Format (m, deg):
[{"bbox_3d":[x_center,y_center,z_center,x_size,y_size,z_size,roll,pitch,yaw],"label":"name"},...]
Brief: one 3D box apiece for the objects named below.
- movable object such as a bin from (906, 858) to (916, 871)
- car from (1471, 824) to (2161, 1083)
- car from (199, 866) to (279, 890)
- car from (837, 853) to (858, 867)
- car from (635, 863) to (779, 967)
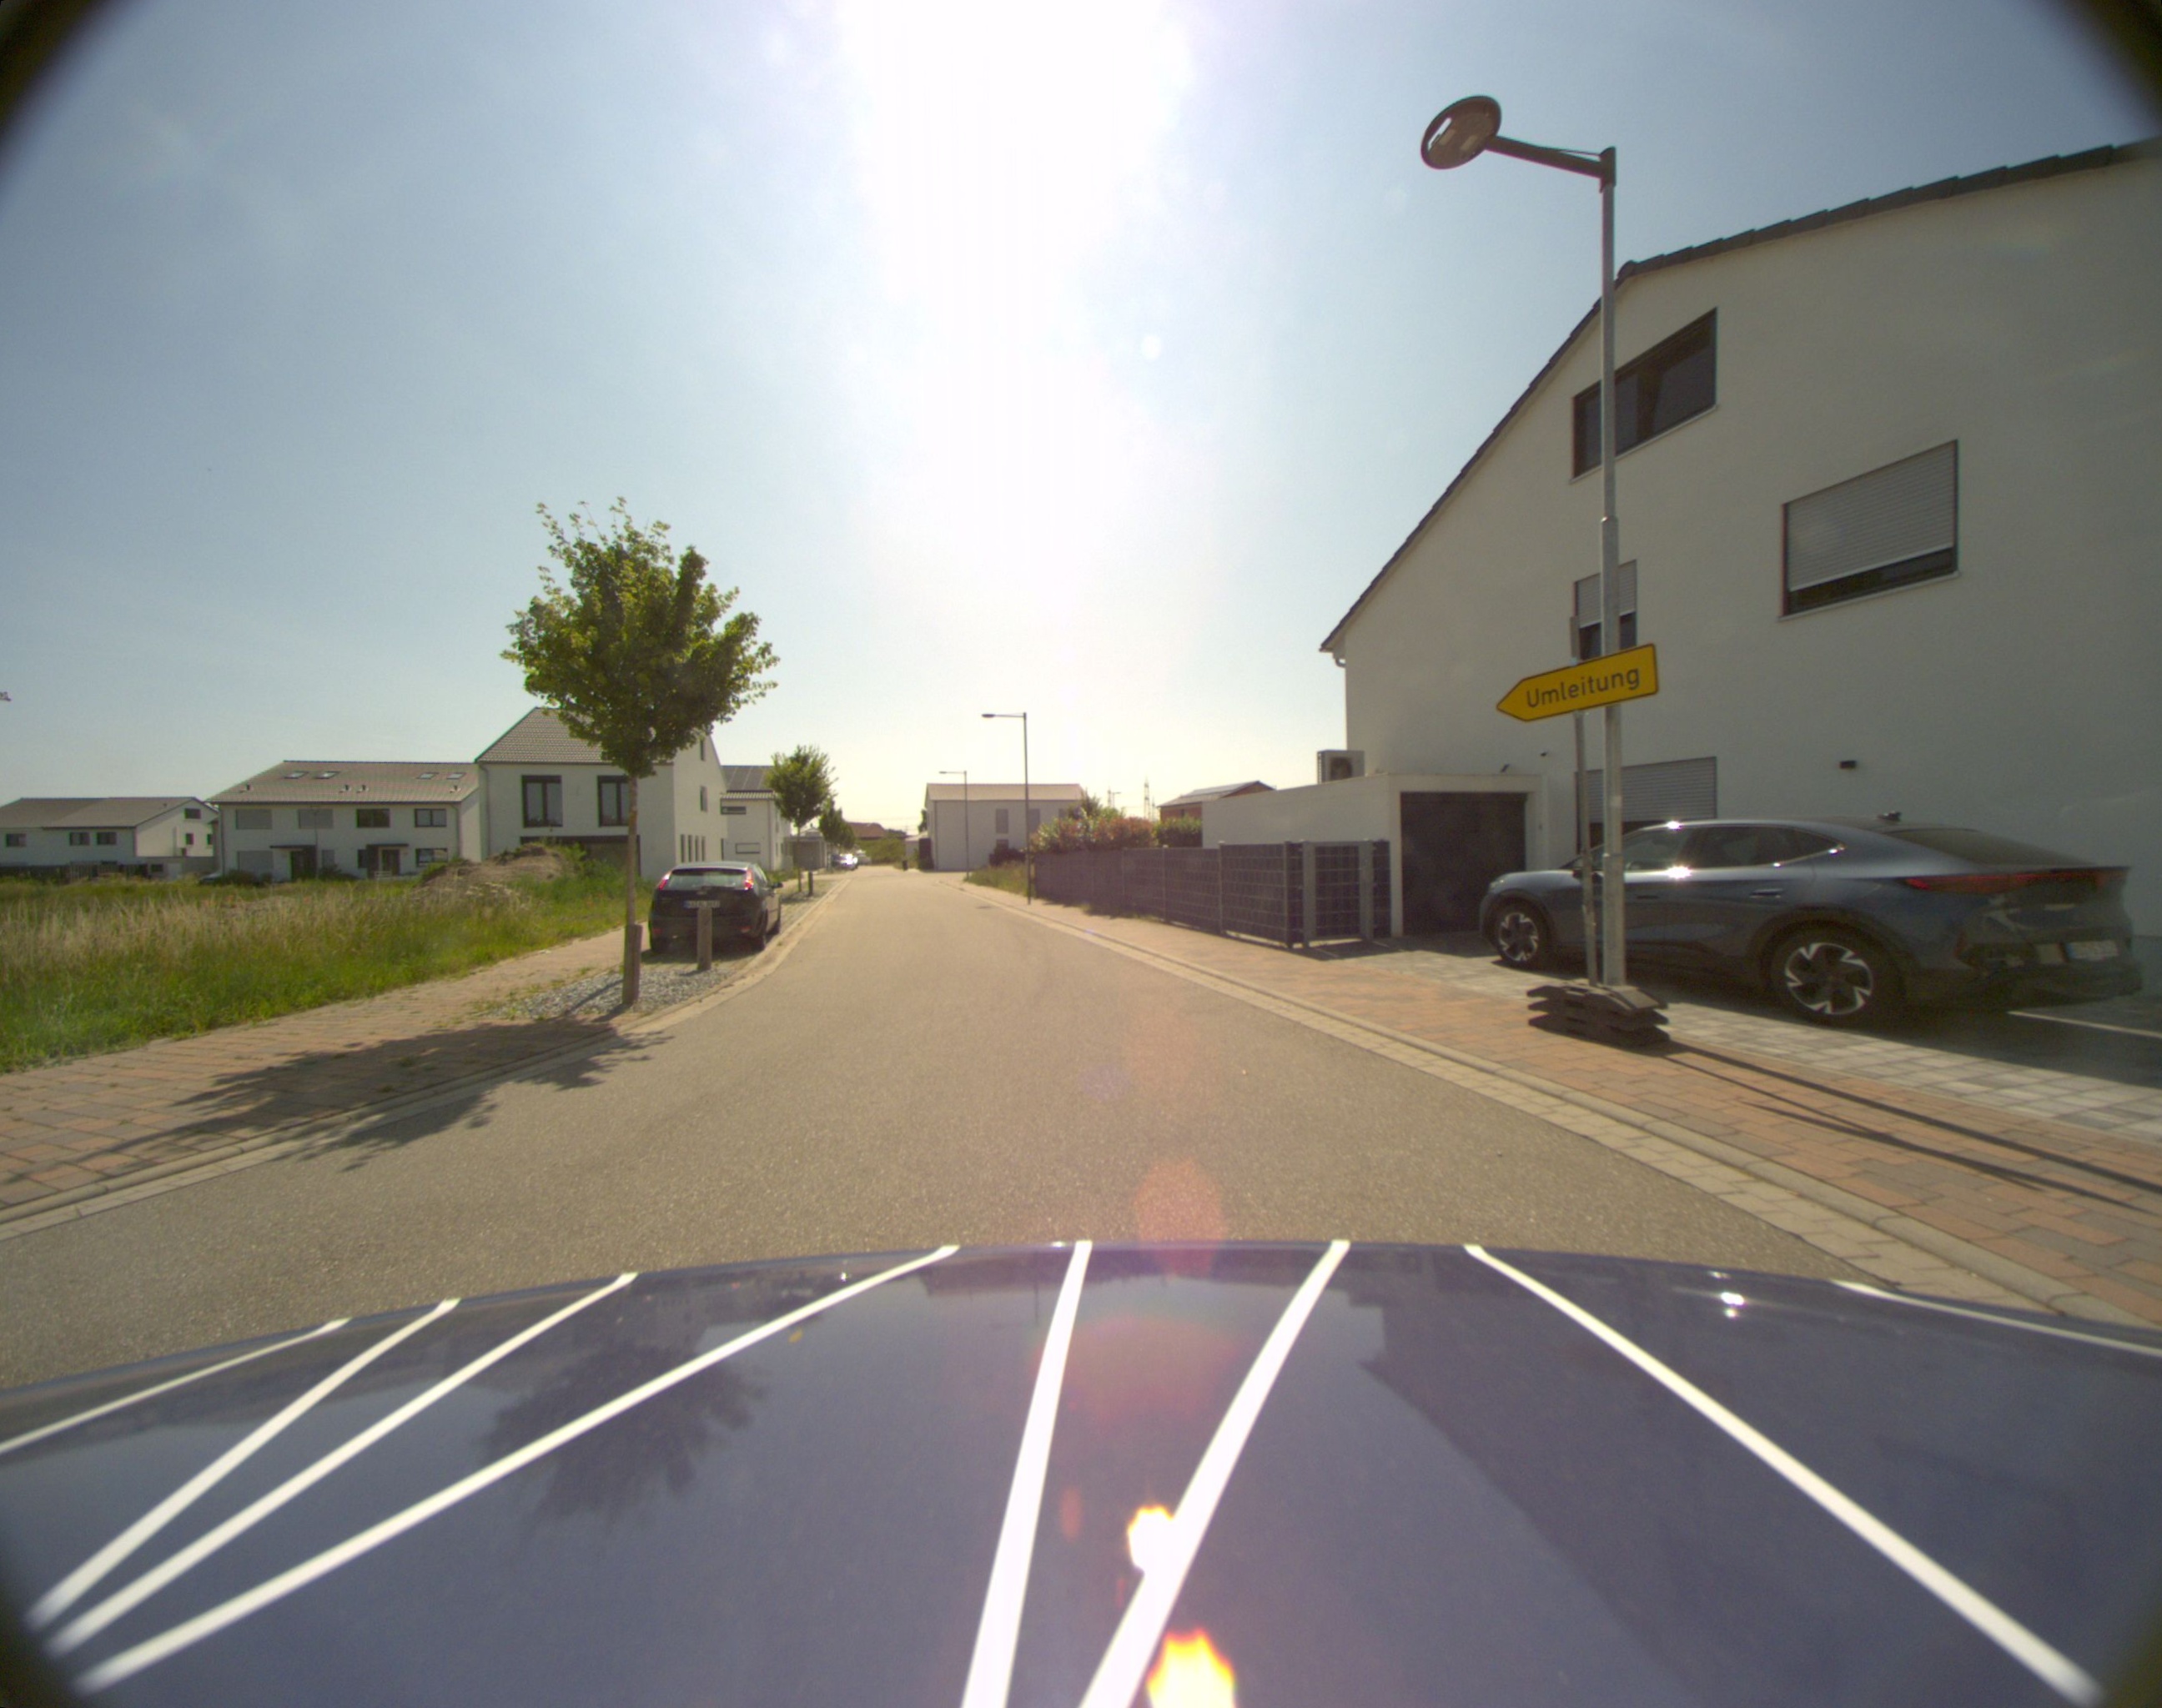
[{"bbox_3d":[-15.067,0.903,67.361,0.808,1.092,0.671,-1,1,-13],"label":"movable object such as a bin"},{"bbox_3d":[6.010,0.583,6.896,1.961,1.549,4.344,-1,0,-16],"label":"car"},{"bbox_3d":[-61.285,1.703,55.395,1.815,1.565,3.996,-1,1,-10],"label":"car"},{"bbox_3d":[-25.131,0.605,81.971,1.927,1.412,4.415,-1,1,-14],"label":"car"},{"bbox_3d":[-6.563,0.948,13.781,1.851,1.485,4.187,-3,0,-20],"label":"car"}]
